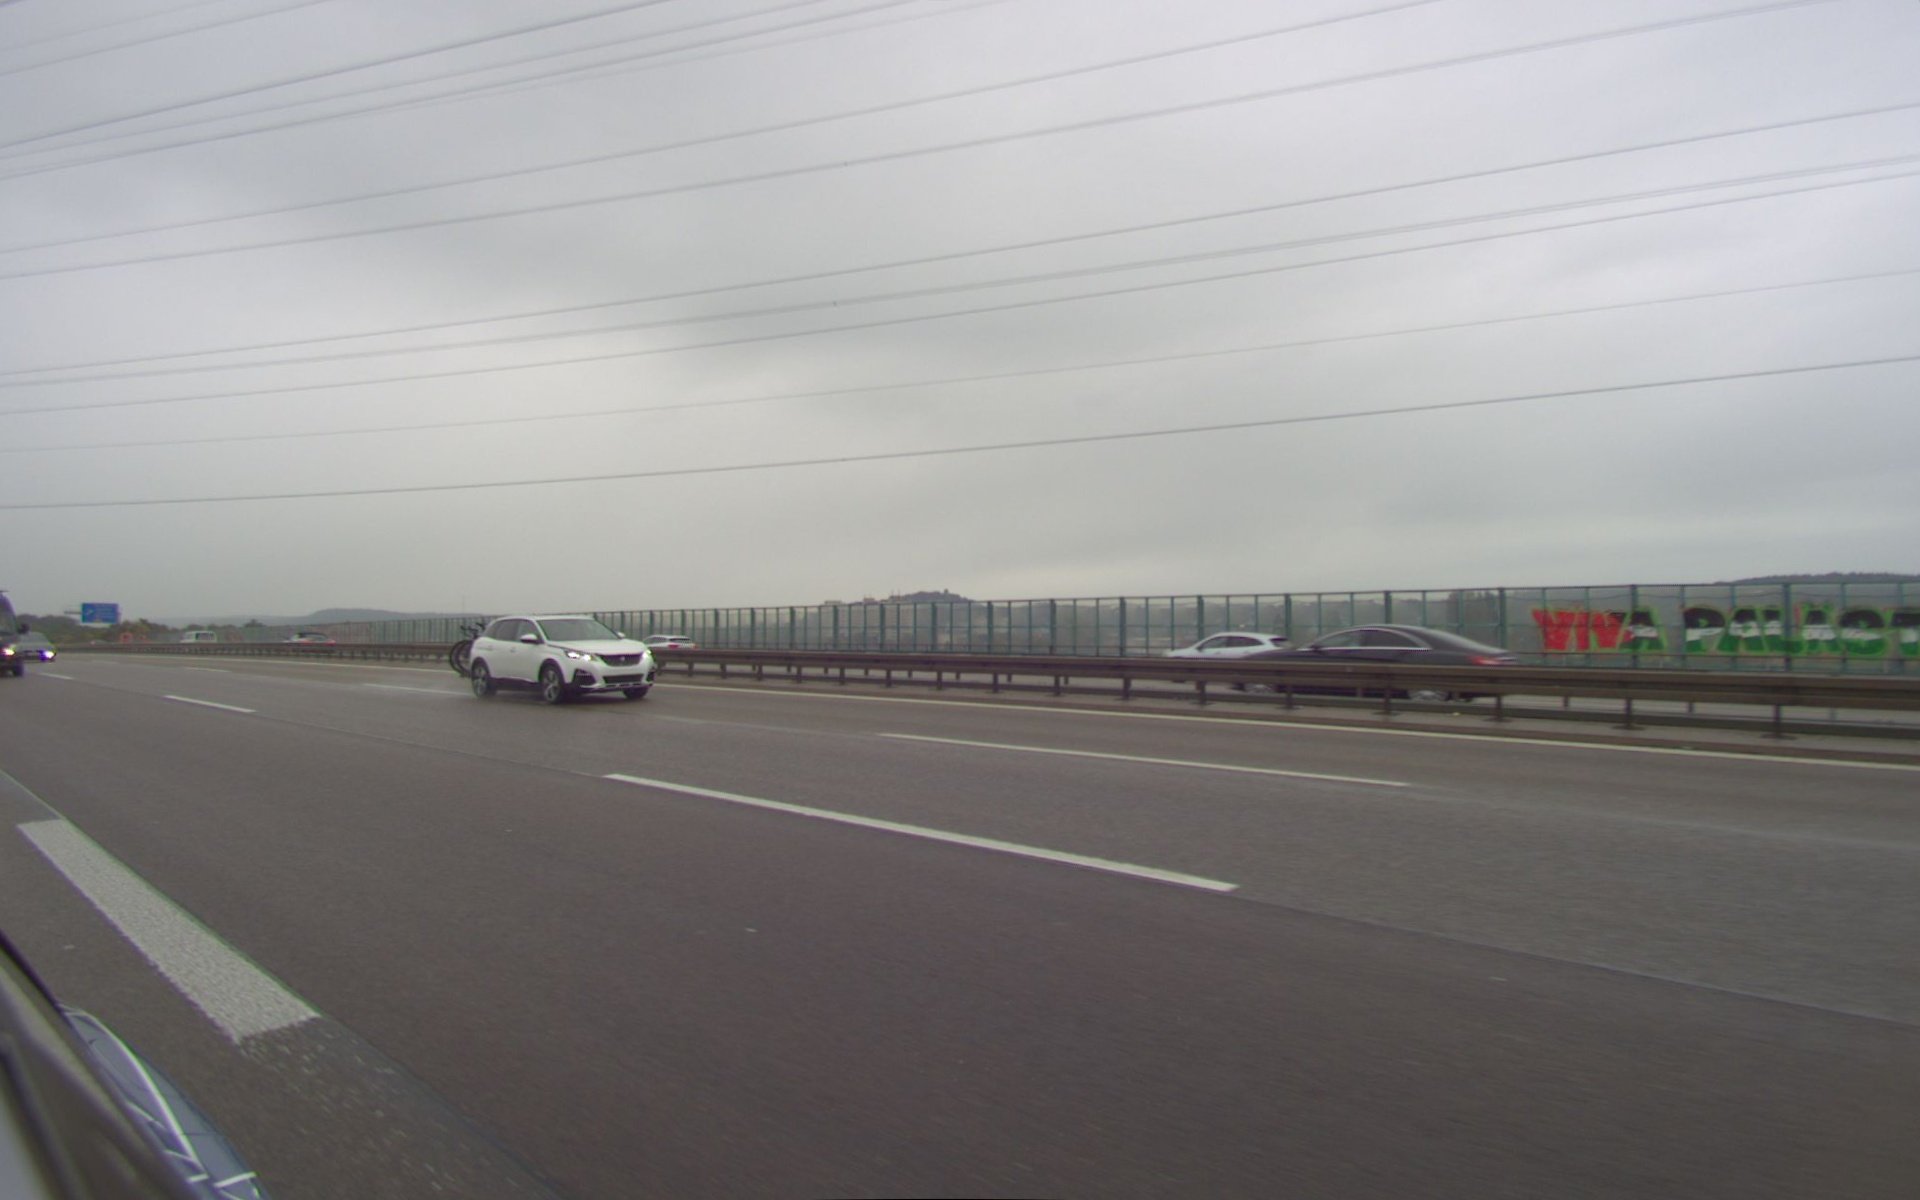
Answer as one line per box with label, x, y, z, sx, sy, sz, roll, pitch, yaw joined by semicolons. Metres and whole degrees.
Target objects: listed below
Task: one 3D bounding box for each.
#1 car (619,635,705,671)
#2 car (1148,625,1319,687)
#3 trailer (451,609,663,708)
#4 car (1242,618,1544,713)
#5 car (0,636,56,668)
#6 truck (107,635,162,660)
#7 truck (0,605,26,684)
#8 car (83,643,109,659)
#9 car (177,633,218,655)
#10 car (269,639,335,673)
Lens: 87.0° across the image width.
car;-15.439;2.722;52.384;4.697;1.677;1.973;-2;-1;40
car;8.377;1.658;31.241;4.697;1.677;1.973;0;0;40
trailer;-7.608;1.033;18.872;4.566;1.637;1.796;-2;-2;41
car;7.362;1.074;17.460;4.464;1.441;1.822;-1;-4;40
car;-44.828;2.470;48.539;4.828;1.413;1.707;-3;-2;42
truck;-112.960;6.362;138.370;14.314;2.856;3.573;0;0;41
truck;-31.395;1.335;31.918;6.104;2.355;1.974;0;-1;39
car;-99.120;5.828;116.152;3.783;1.596;1.609;-3;4;41
car;-65.541;3.766;86.967;4.464;1.757;1.901;-1;-1;40
car;-36.972;3.111;56.847;4.464;1.757;1.822;-1;-4;40
